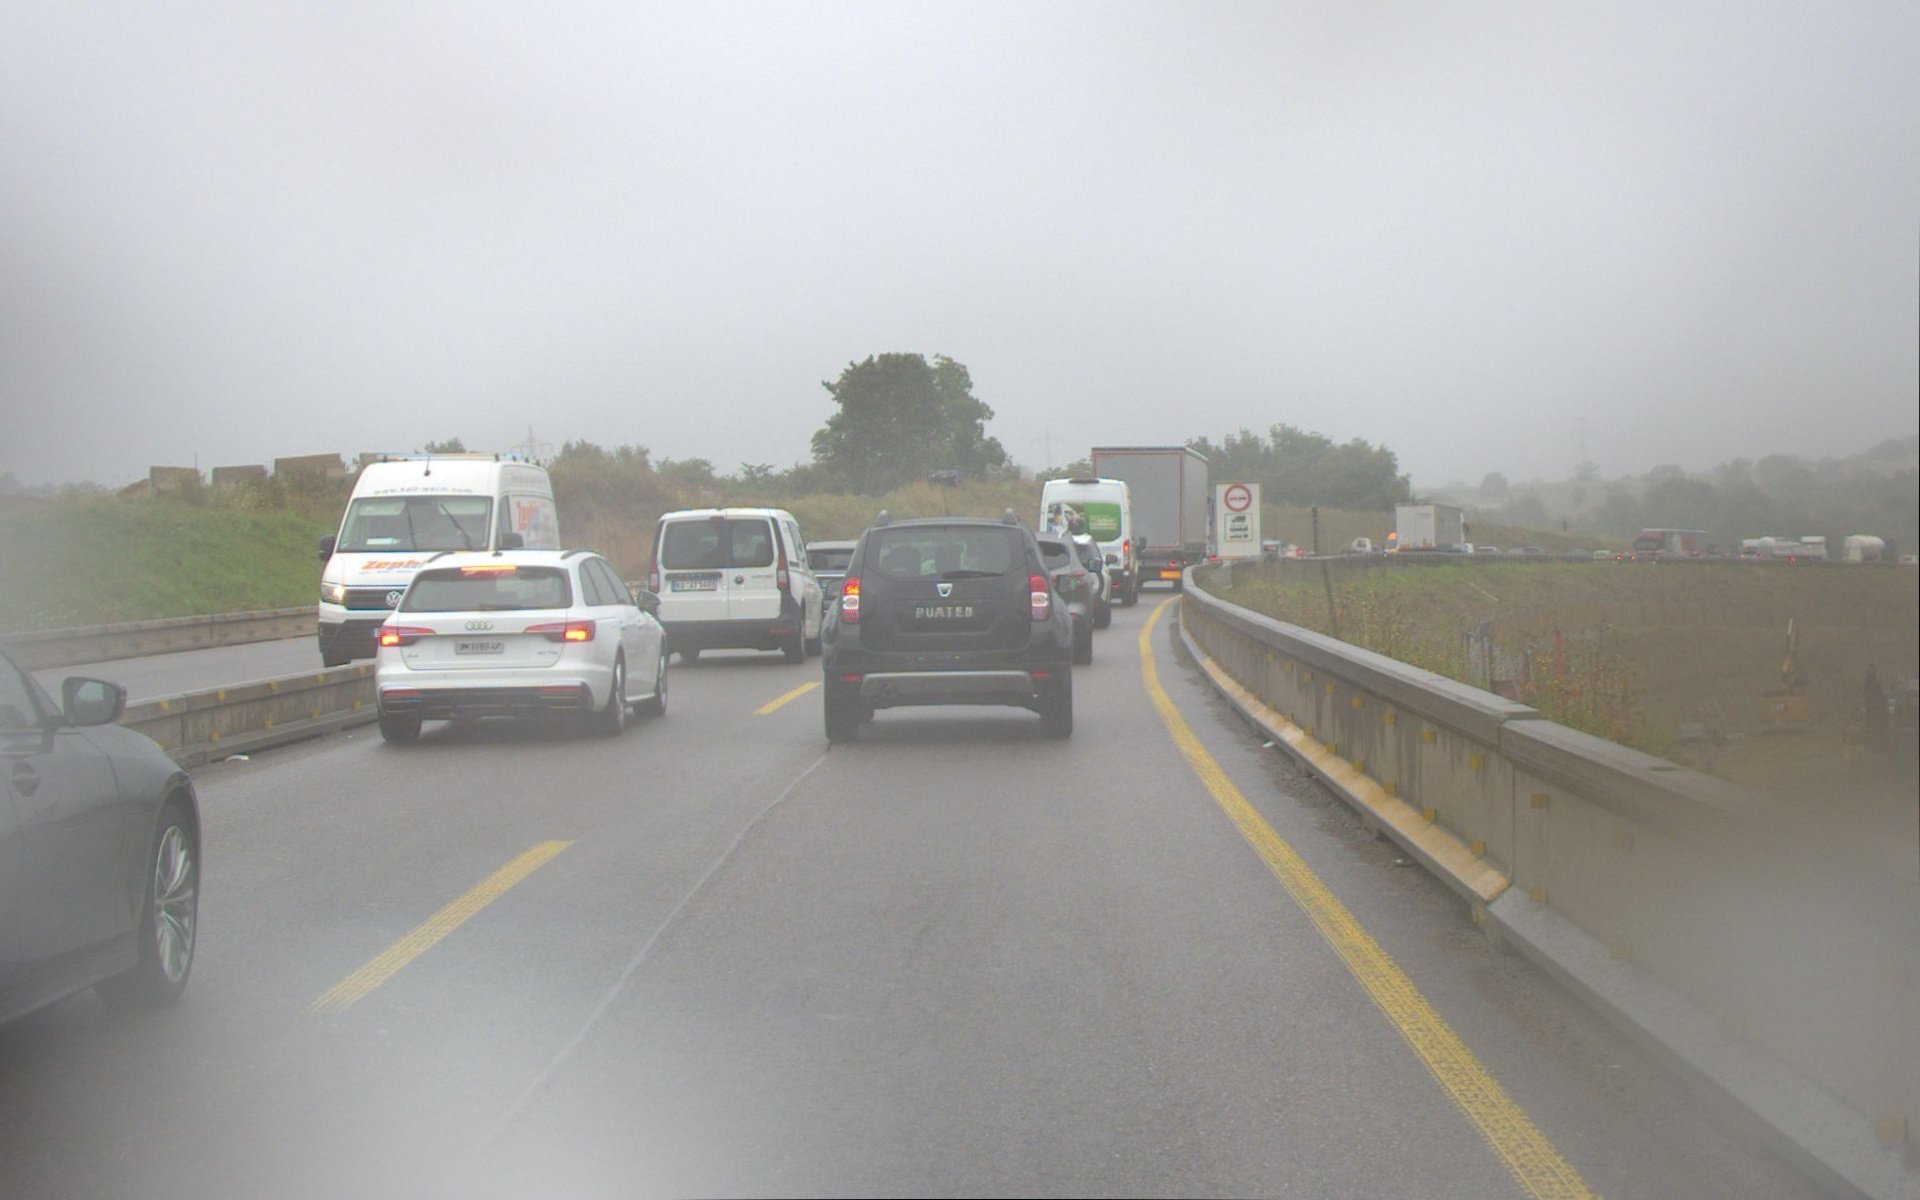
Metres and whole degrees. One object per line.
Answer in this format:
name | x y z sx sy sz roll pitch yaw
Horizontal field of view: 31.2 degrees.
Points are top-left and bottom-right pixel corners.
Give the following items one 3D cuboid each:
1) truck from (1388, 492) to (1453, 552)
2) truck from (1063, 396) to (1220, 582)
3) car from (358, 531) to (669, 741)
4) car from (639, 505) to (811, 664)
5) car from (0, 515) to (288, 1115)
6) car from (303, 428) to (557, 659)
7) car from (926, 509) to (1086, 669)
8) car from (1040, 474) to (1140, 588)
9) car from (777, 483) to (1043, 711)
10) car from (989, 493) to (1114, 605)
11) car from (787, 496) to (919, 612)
truck | 29.530 -5.023 220.084 3.474 3.702 8.413 -1 1 12
truck | 5.327 -3.055 98.704 3.545 5.060 10.438 0 0 8
car | -3.367 0.243 26.615 1.826 1.494 4.000 0 0 1
car | -2.766 -0.187 41.156 1.826 1.809 4.000 0 0 -1
car | -3.307 0.550 9.522 1.735 1.457 5.630 0 3 0
car | -6.287 -0.710 41.514 2.024 2.540 5.958 -1 1 1
car | 0.592 -0.136 41.199 1.826 1.809 4.000 0 0 2
car | 2.886 -1.478 75.460 1.827 2.429 4.157 0 0 7
car | -0.303 -0.033 26.008 1.826 1.585 4.000 0 0 2
car | 1.571 -0.841 57.773 1.826 1.809 3.999 0 0 5
car | -1.699 -0.734 55.970 1.826 1.809 4.000 0 0 3
